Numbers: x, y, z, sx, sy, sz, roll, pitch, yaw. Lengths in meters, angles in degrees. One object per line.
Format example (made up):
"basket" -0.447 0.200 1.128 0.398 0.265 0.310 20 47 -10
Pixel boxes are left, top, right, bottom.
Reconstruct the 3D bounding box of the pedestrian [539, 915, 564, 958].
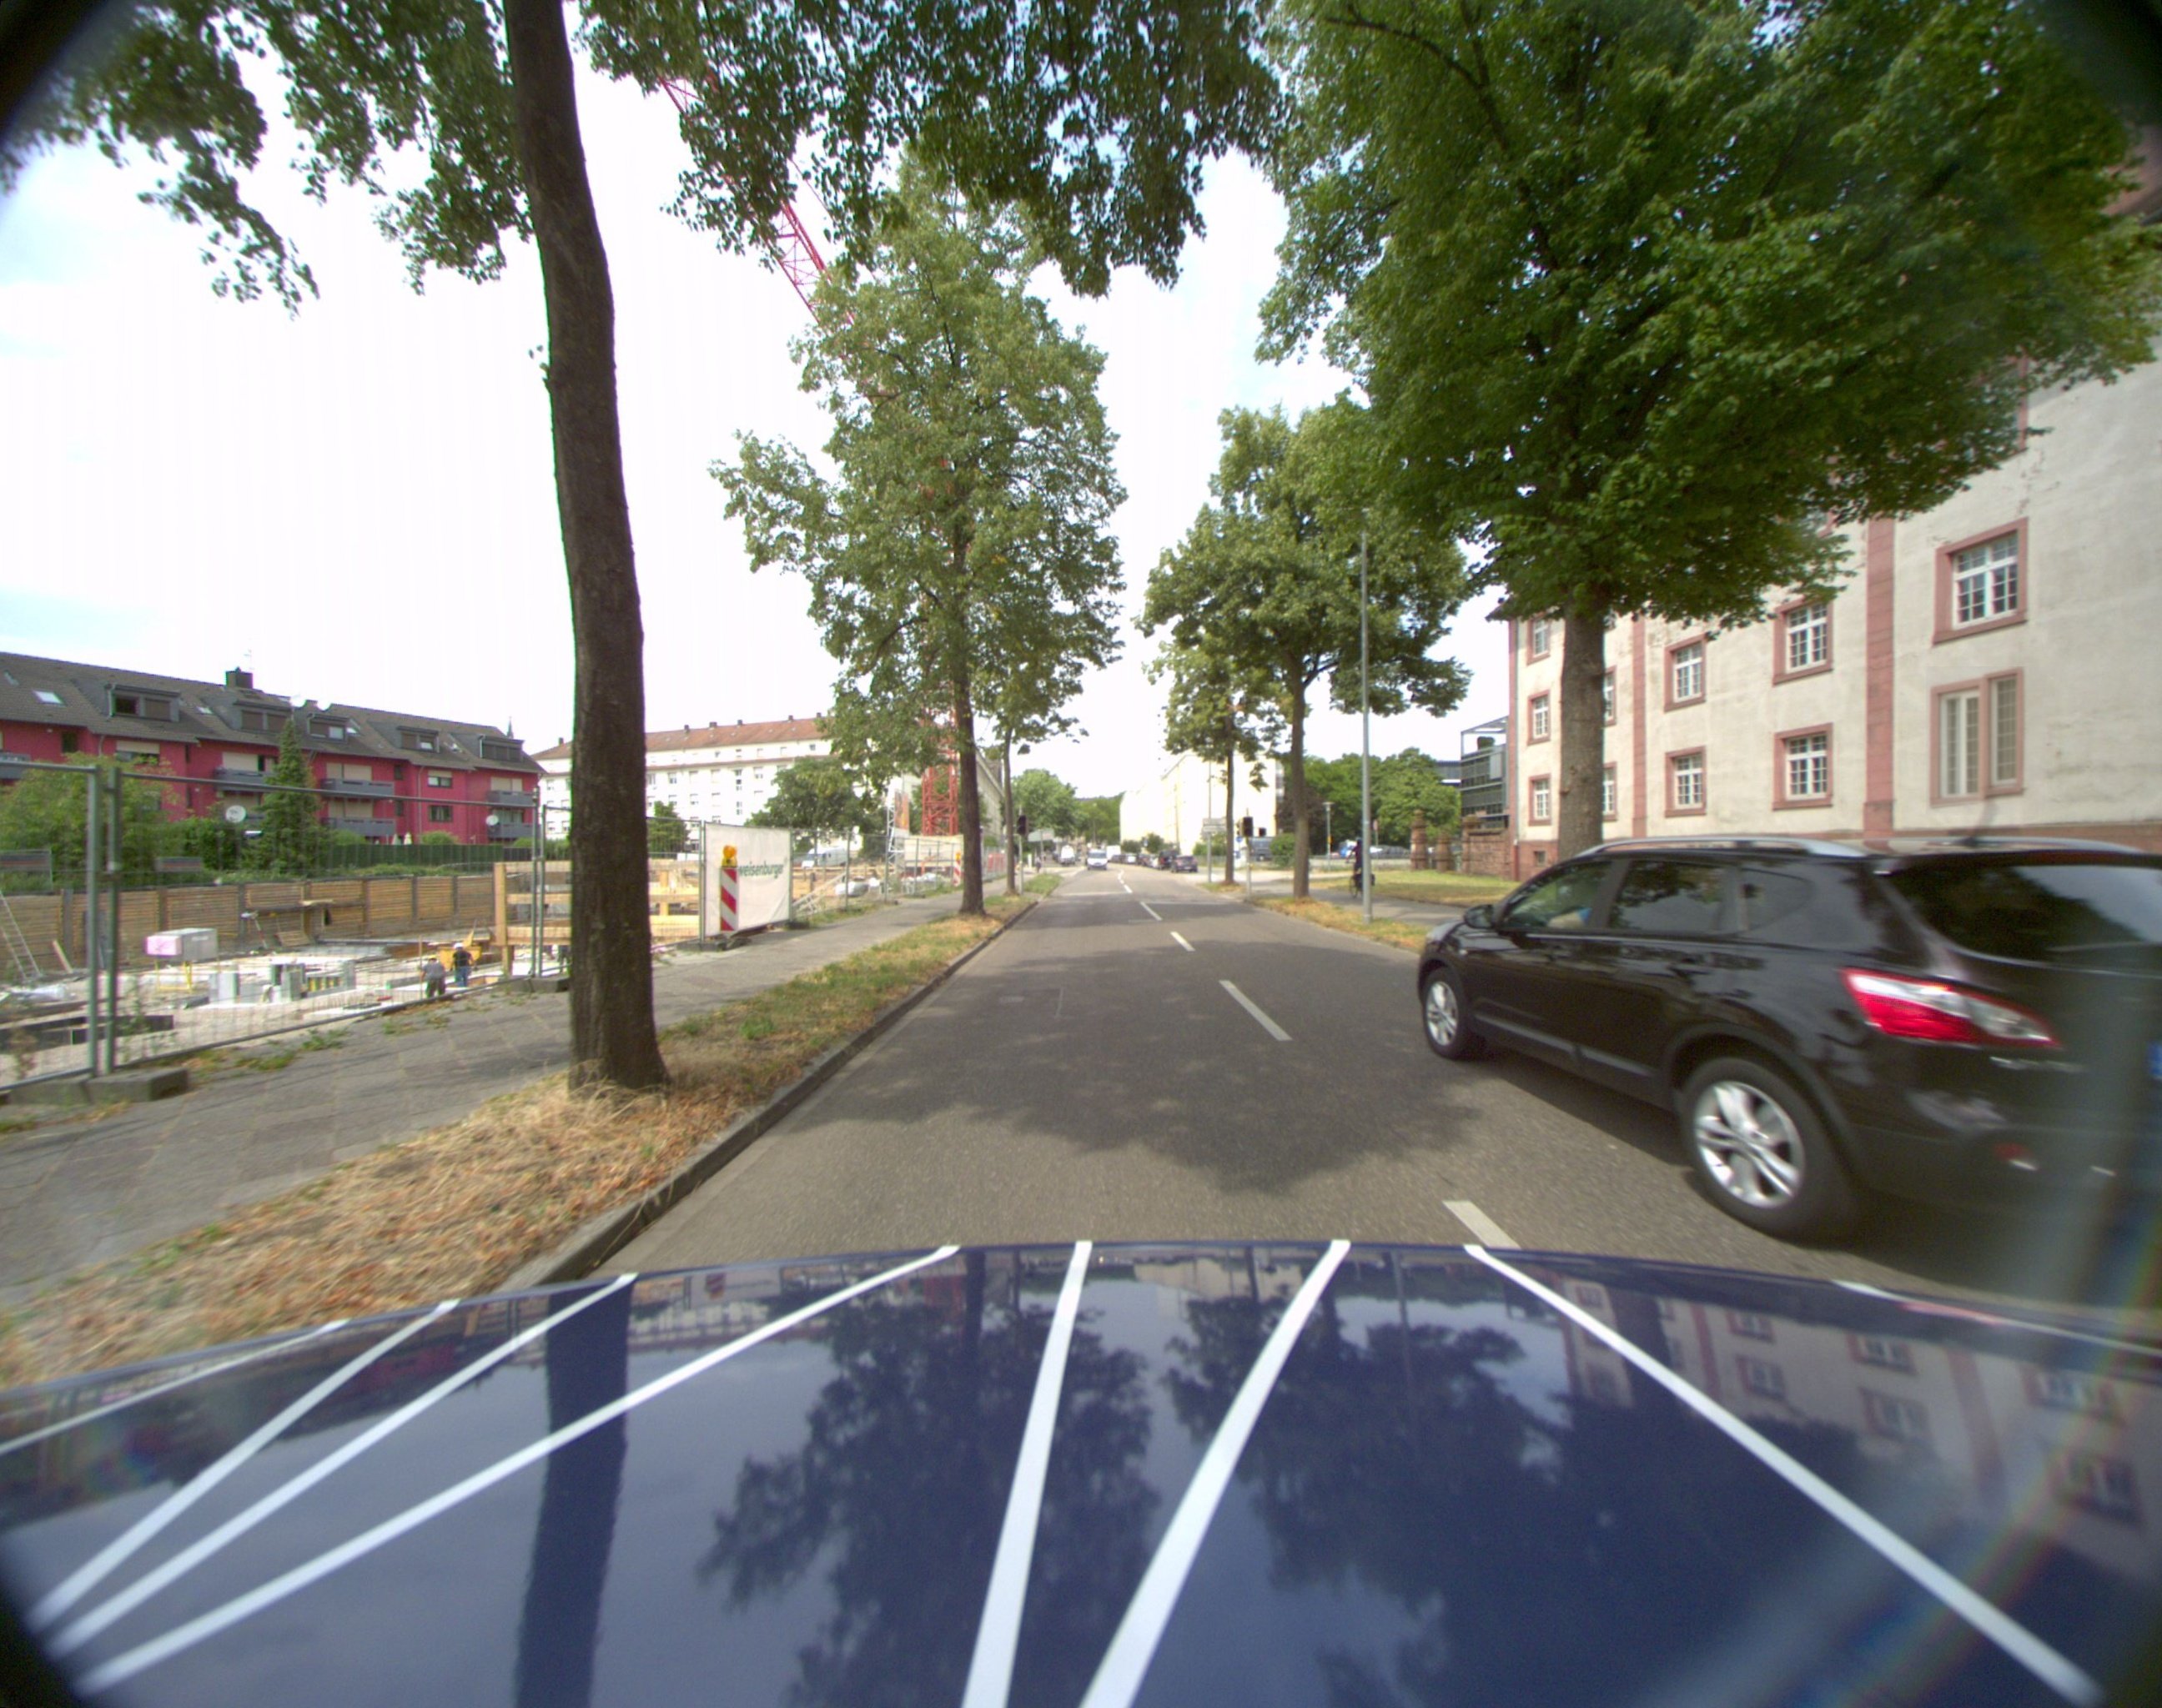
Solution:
"pedestrian" -22.631 3.519 32.486 0.842 1.712 0.722 2 2 43

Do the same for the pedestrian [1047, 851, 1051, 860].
"pedestrian" -5.933 0.265 141.519 0.808 1.793 0.763 1 1 -2

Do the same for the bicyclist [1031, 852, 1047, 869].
"bicyclist" -3.485 0.535 63.321 1.078 1.404 0.716 -3 -1 33

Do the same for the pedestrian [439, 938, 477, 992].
"pedestrian" -21.722 3.859 26.489 0.718 1.712 0.846 2 1 35

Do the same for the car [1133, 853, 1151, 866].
"car" 7.680 0.638 96.169 1.626 1.566 3.998 -1 1 -4

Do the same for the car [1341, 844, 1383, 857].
"car" 32.198 -0.422 87.114 3.997 1.474 1.970 -1 1 0

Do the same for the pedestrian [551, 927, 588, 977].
"pedestrian" -19.511 3.715 28.970 0.842 1.712 0.986 2 2 43

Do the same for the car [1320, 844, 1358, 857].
"car" 32.227 -0.438 94.919 3.997 1.474 1.982 -1 1 0

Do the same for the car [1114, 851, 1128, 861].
"car" 6.305 0.281 120.568 1.722 1.615 3.838 -1 1 -4

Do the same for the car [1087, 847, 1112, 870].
"car" 1.651 0.375 70.069 1.999 2.002 3.998 1 1 -2

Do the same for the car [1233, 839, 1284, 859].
"car" 19.305 -0.508 82.812 5.097 2.137 2.229 0 0 3

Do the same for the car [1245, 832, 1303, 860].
"car" 19.614 -0.820 77.358 5.323 2.537 2.354 -3 1 2

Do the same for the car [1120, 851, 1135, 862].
"car" 6.910 0.384 112.709 1.722 1.615 3.838 -1 1 -4

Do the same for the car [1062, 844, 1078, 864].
"car" -1.491 -0.055 102.946 1.900 2.587 4.903 -3 1 -2

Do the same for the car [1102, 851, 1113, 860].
"car" 5.132 0.321 148.434 1.853 1.623 4.217 1 1 -2

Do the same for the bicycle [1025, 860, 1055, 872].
"bicycle" -3.411 1.014 63.279 2.473 0.927 0.716 -1 0 33

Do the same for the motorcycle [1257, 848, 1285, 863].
"motorcycle" 15.074 0.124 60.324 2.095 1.135 0.725 1 1 5

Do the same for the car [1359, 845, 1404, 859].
"car" 32.459 -0.242 82.172 4.166 1.474 1.616 -1 1 0

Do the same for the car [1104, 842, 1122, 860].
"car" 5.651 -0.557 136.388 2.622 3.040 7.112 1 0 -2

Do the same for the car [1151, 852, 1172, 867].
"car" 8.329 0.535 79.048 1.658 1.520 3.764 -2 0 -2

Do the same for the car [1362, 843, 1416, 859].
"car" 32.202 -0.340 79.642 4.703 1.654 2.331 0 0 2

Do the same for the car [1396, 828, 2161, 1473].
"car" 3.471 0.793 4.076 1.776 1.649 4.257 1 -1 0

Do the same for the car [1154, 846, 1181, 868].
"car" 8.339 0.310 73.622 1.953 1.992 4.843 -2 0 0

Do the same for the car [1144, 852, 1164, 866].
"car" 8.131 0.526 84.760 1.692 1.448 4.262 -1 0 -2

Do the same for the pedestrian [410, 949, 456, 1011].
"pedestrian" -19.788 3.839 23.225 0.843 1.712 0.721 1 1 17

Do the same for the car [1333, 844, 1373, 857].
"car" 32.066 -0.381 89.706 3.997 1.474 1.857 -1 1 0

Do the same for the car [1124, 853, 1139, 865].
"car" 7.103 0.701 106.944 1.791 1.554 4.550 -3 0 -1

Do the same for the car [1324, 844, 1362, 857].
"car" 31.844 -0.419 92.506 3.997 1.474 1.982 -1 1 0

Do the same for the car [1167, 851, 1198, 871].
"car" 8.413 0.570 63.243 1.827 1.464 4.297 -3 0 -1

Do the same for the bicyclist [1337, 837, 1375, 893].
"bicyclist" 8.436 0.330 23.347 0.724 1.646 0.958 -5 0 1

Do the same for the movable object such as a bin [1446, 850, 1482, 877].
"movable object such as a bin" 21.163 0.499 41.999 1.204 1.459 1.571 -1 1 2

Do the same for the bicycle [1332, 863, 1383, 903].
"bicycle" 8.495 0.870 23.429 0.724 1.089 2.151 -5 0 1

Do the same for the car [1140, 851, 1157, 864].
"car" 8.022 0.369 90.581 1.691 1.462 4.048 -1 0 0
